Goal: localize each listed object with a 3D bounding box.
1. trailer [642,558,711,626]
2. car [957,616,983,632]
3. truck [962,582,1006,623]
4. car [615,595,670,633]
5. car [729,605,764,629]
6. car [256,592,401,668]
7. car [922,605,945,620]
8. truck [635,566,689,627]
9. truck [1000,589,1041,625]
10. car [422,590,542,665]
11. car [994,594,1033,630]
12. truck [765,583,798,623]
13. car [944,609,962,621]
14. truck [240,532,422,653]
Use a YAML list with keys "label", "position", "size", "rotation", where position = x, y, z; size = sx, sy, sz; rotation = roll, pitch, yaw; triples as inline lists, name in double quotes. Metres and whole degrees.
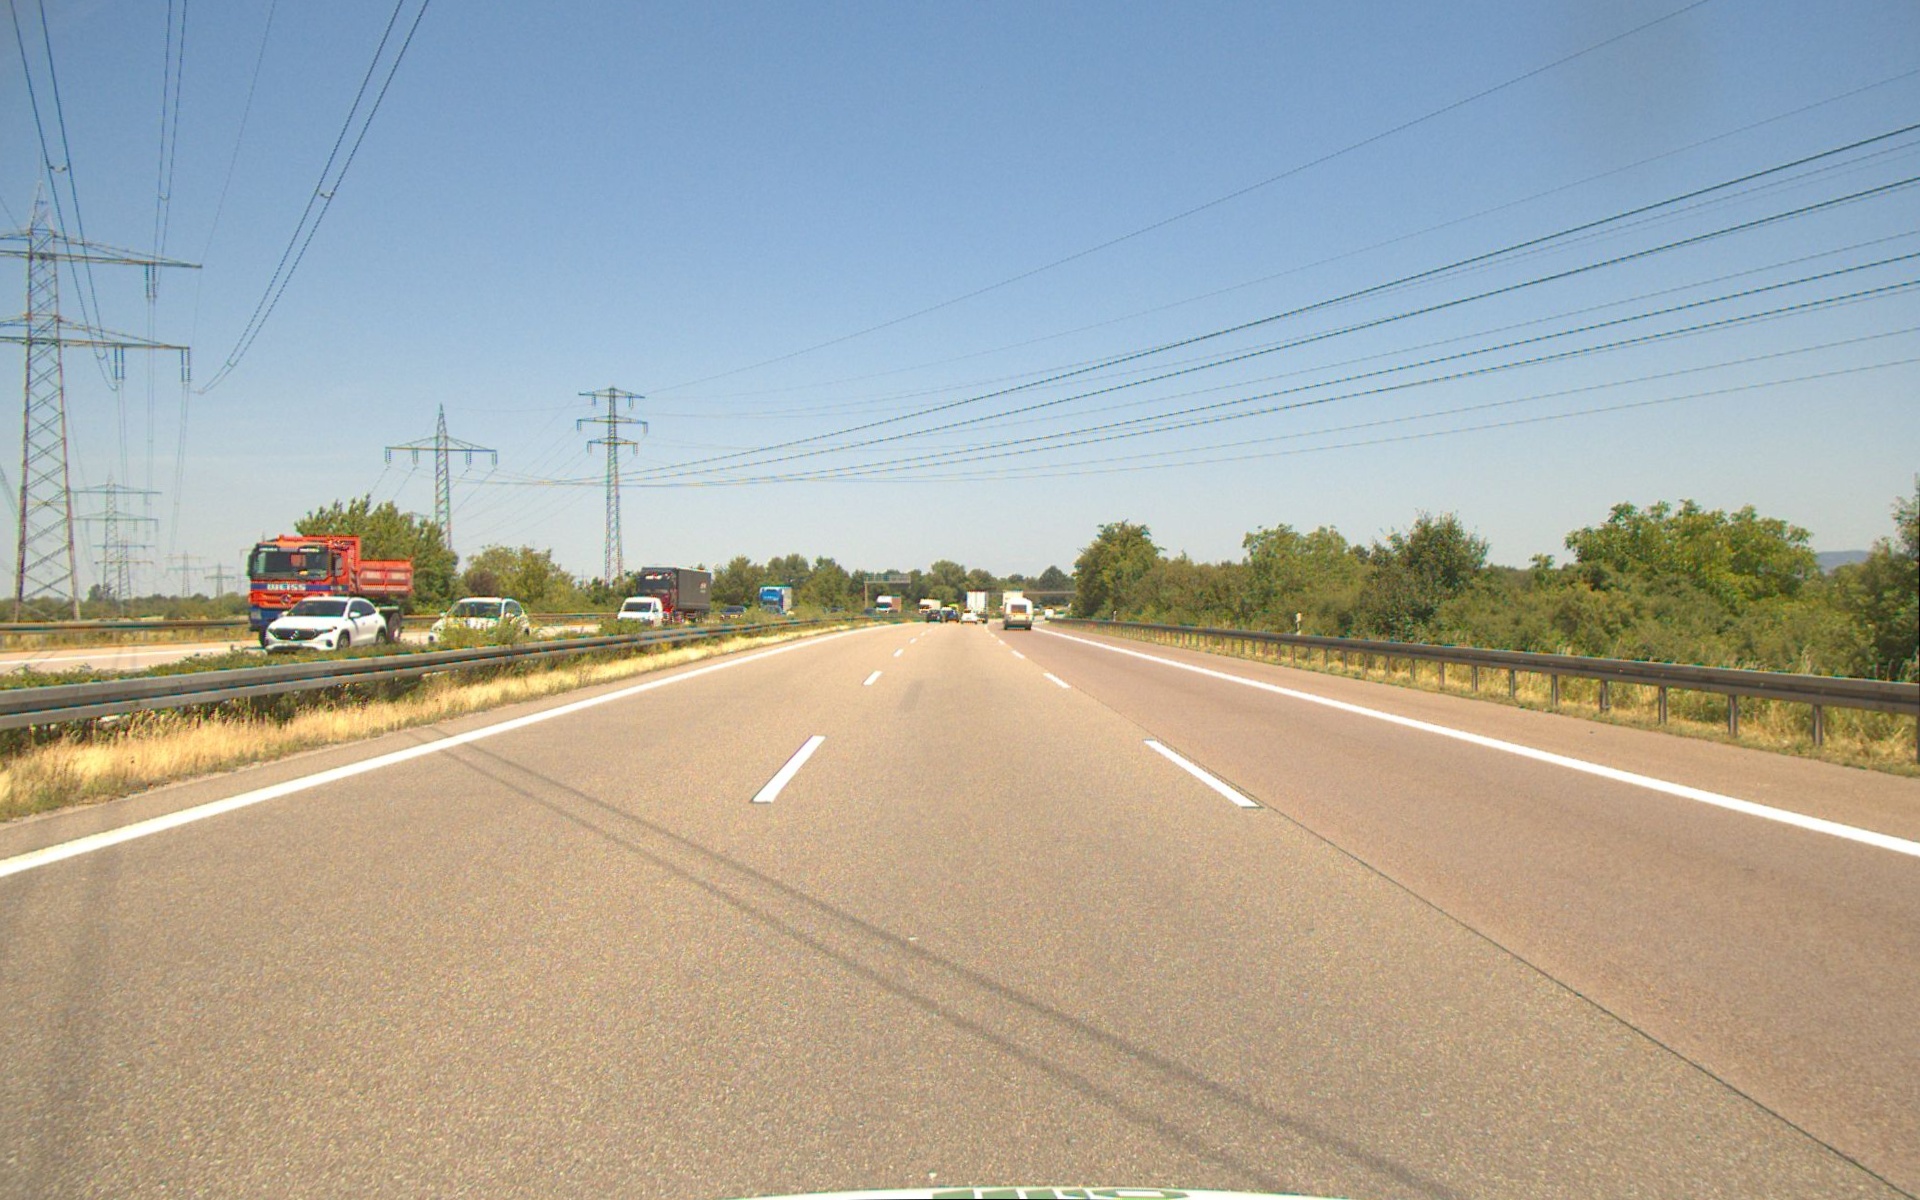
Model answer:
- label: "trailer"
  position: [-20.577, -0.603, 120.848]
  size: [2.594, 4.631, 13.864]
  rotation: [1, 0, 0]
- label: "car"
  position: [1.058, 2.528, 172.639]
  size: [1.789, 1.574, 4.322]
  rotation: [2, 0, 13]
- label: "truck"
  position: [3.298, 0.263, 219.248]
  size: [3.588, 5.106, 16.031]
  rotation: [1, 0, 9]
- label: "car"
  position: [-15.922, 0.695, 83.239]
  size: [1.931, 1.804, 4.368]
  rotation: [1, 0, -1]
- label: "car"
  position: [-15.854, 1.238, 123.200]
  size: [1.904, 1.646, 5.017]
  rotation: [1, 0, 0]
- label: "car"
  position: [-16.007, 0.712, 42.197]
  size: [1.953, 1.792, 4.534]
  rotation: [1, 0, -1]
- label: "car"
  position: [-2.911, 1.337, 182.132]
  size: [1.789, 1.574, 4.322]
  rotation: [2, 0, 9]
- label: "truck"
  position: [-20.573, -0.264, 114.383]
  size: [2.594, 4.052, 5.991]
  rotation: [1, 0, 0]
- label: "truck"
  position: [7.818, 0.864, 212.528]
  size: [3.113, 4.379, 16.031]
  rotation: [1, 0, 9]
- label: "car"
  position: [-12.898, 0.693, 44.922]
  size: [1.953, 1.885, 4.534]
  rotation: [1, 0, -1]
- label: "car"
  position: [3.678, 0.810, 115.132]
  size: [2.393, 2.362, 5.320]
  rotation: [0, 1, -1]
- label: "truck"
  position: [-18.712, 0.262, 173.804]
  size: [2.403, 4.045, 9.671]
  rotation: [-1, 0, 0]
- label: "car"
  position: [-1.002, 2.034, 226.663]
  size: [1.789, 1.574, 4.322]
  rotation: [2, 0, 9]
- label: "truck"
  position: [-20.372, -0.197, 54.193]
  size: [2.714, 3.588, 8.531]
  rotation: [1, 0, -1]
